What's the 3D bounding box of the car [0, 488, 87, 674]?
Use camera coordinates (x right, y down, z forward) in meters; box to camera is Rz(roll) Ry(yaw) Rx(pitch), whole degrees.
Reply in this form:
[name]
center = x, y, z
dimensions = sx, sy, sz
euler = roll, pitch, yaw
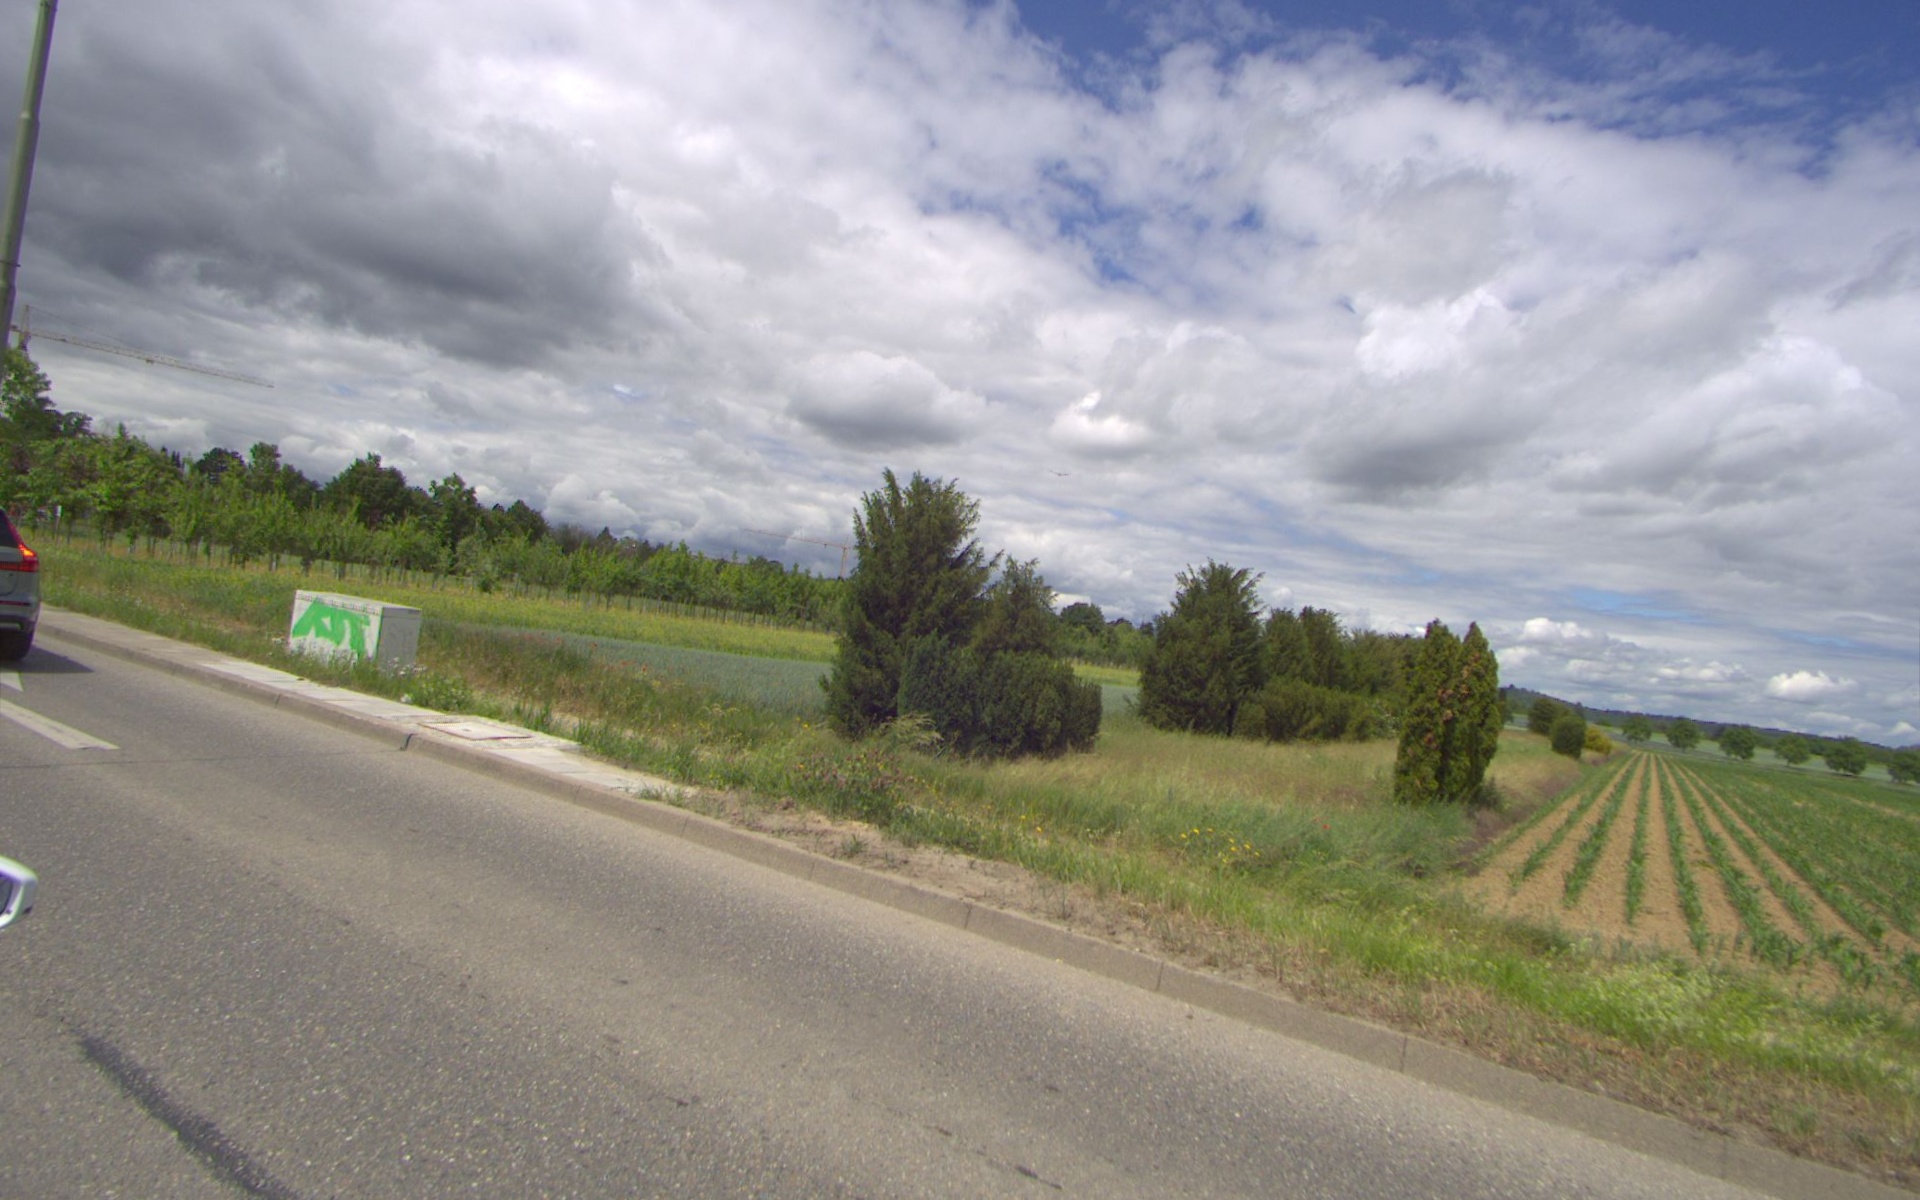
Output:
[car]
center = -10.046, -0.373, 9.150
dimensions = 4.269, 1.544, 1.960
euler = 6, 0, 32
